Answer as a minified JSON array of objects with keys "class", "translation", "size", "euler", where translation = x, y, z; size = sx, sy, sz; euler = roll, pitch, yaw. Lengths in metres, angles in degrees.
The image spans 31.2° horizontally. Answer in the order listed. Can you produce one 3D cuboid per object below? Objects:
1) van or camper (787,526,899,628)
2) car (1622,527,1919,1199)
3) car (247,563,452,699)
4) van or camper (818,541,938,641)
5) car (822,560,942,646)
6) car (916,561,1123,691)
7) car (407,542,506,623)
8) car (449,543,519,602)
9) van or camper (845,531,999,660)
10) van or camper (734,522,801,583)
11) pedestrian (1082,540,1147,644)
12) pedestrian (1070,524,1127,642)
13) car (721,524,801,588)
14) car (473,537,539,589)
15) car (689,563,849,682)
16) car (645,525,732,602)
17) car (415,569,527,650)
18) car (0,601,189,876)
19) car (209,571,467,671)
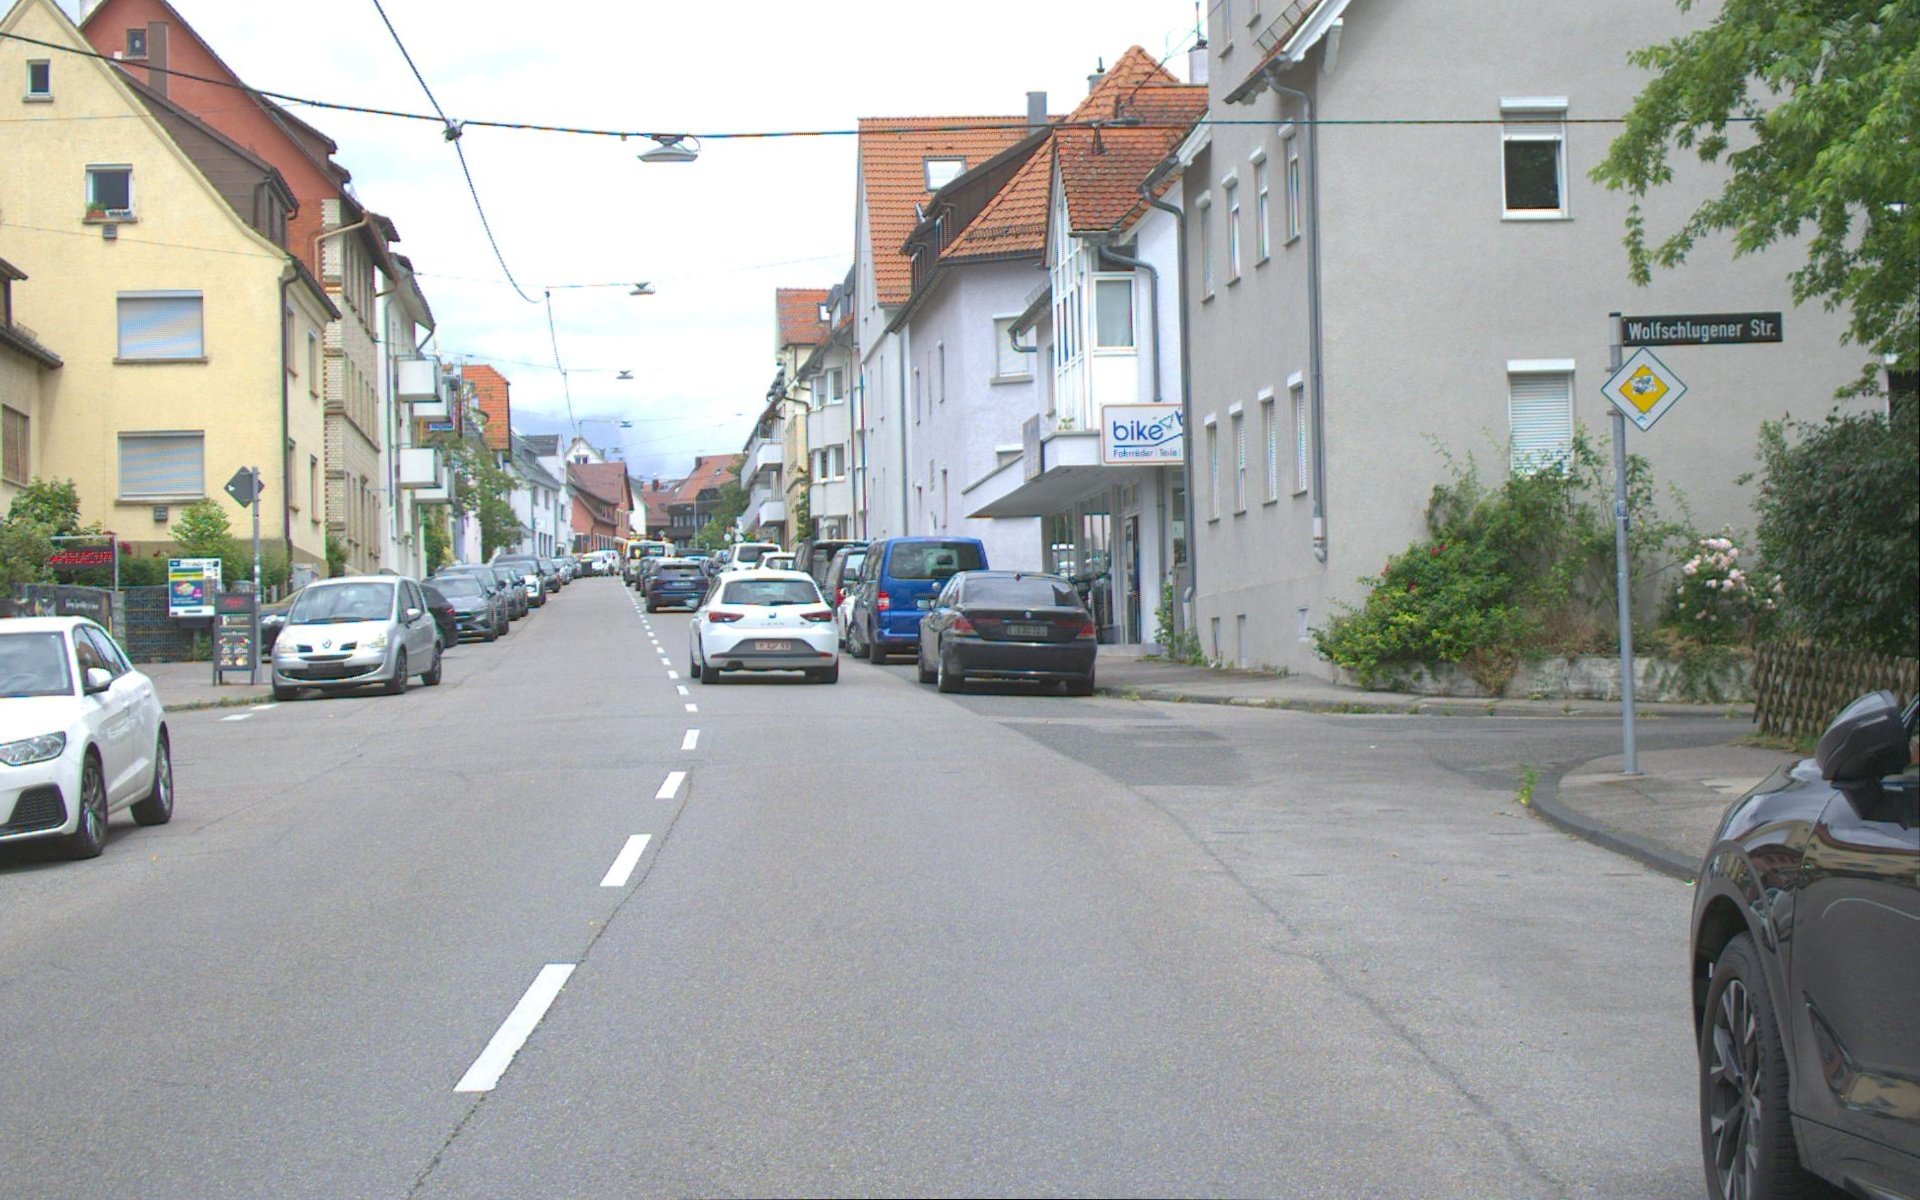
[{"class":"van or camper","translation":[-2.558,-0.514,73.723],"size":[1.993,2.058,5.946],"euler":[1,1,-6]},{"class":"car","translation":[2.553,0.686,6.009],"size":[1.810,1.610,4.539],"euler":[1,0,-1]},{"class":"car","translation":[-8.103,0.378,45.939],"size":[1.834,1.572,4.031],"euler":[-4,1,1]},{"class":"van or camper","translation":[-1.612,-0.197,66.005],"size":[1.871,1.822,4.681],"euler":[1,1,-6]},{"class":"car","translation":[-1.418,0.030,60.735],"size":[1.714,1.431,4.640],"euler":[1,1,-6]},{"class":"car","translation":[0.671,0.283,42.868],"size":[1.993,1.512,4.892],"euler":[0,1,-6]},{"class":"car","translation":[-11.487,-0.431,78.716],"size":[1.993,1.645,4.555],"euler":[-4,1,-6]},{"class":"car","translation":[-13.049,-0.766,94.352],"size":[1.642,1.468,4.180],"euler":[-4,1,-5]},{"class":"van or camper","translation":[-0.646,-0.113,54.027],"size":[1.926,1.919,4.832],"euler":[0,1,-6]},{"class":"van or camper","translation":[-6.624,-1.638,117.917],"size":[1.940,2.048,4.564],"euler":[0,1,-8]},{"class":"pedestrian","translation":[2.567,-0.138,57.092],"size":[0.871,1.719,0.618],"euler":[0,1,30]},{"class":"pedestrian","translation":[2.369,-0.290,58.700],"size":[0.760,2.007,0.618],"euler":[0,1,29]},{"class":"car","translation":[-5.570,-1.246,95.640],"size":[1.940,1.687,4.001],"euler":[1,1,-7]},{"class":"car","translation":[-15.116,-1.248,114.579],"size":[1.993,1.645,4.001],"euler":[-1,1,-6]},{"class":"car","translation":[-2.508,0.255,44.427],"size":[1.940,1.434,4.001],"euler":[0,1,-5]},{"class":"car","translation":[-7.219,-0.970,91.152],"size":[2.152,2.007,4.001],"euler":[0,1,-7]},{"class":"car","translation":[-10.301,0.171,72.725],"size":[1.993,1.467,4.244],"euler":[-4,1,-4]},{"class":"car","translation":[-5.920,0.817,20.817],"size":[1.726,1.453,3.899],"euler":[-5,1,-3]},{"class":"car","translation":[-10.649,0.363,58.944],"size":[4.228,1.467,2.000],"euler":[-2,-3,-10]}]
